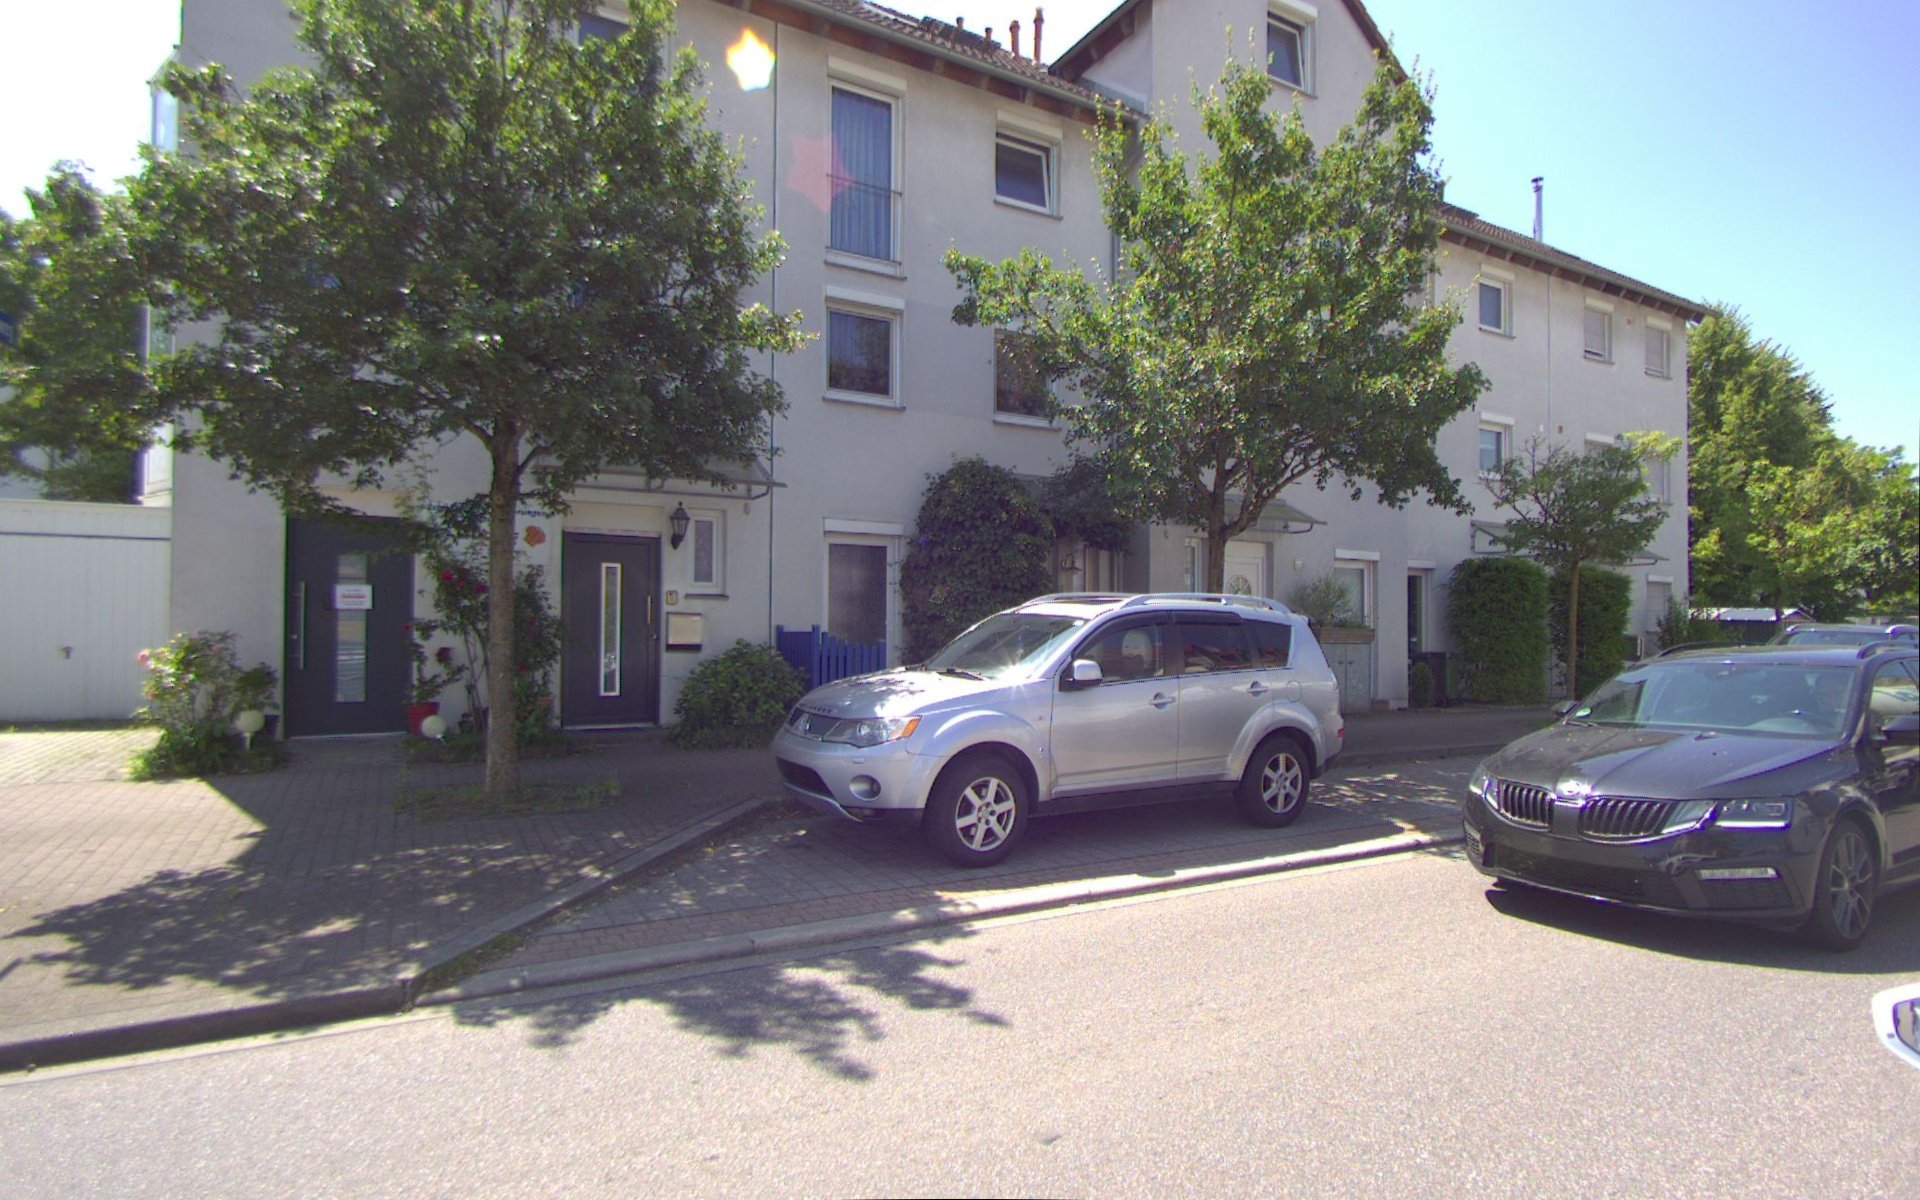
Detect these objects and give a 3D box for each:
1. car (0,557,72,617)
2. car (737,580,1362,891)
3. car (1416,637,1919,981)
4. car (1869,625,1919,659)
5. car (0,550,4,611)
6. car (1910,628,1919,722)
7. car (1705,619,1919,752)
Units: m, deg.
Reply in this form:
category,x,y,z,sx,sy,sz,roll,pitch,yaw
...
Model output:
category,x,y,z,sx,sy,sz,roll,pitch,yaw
car,-24.265,-0.359,25.173,1.668,1.447,3.980,1,1,-21
car,0.801,0.791,7.423,4.474,1.709,1.697,1,-1,-31
car,4.883,0.969,6.126,4.205,1.465,1.711,1,-3,-30
car,47.752,2.077,49.140,1.714,1.673,4.618,1,-1,-21
car,-26.402,-0.545,25.168,1.720,1.645,3.988,3,0,-14
car,18.371,1.319,17.496,3.793,1.602,1.689,1,-1,-31
car,12.541,1.131,14.294,3.950,1.641,1.684,1,-1,-30
